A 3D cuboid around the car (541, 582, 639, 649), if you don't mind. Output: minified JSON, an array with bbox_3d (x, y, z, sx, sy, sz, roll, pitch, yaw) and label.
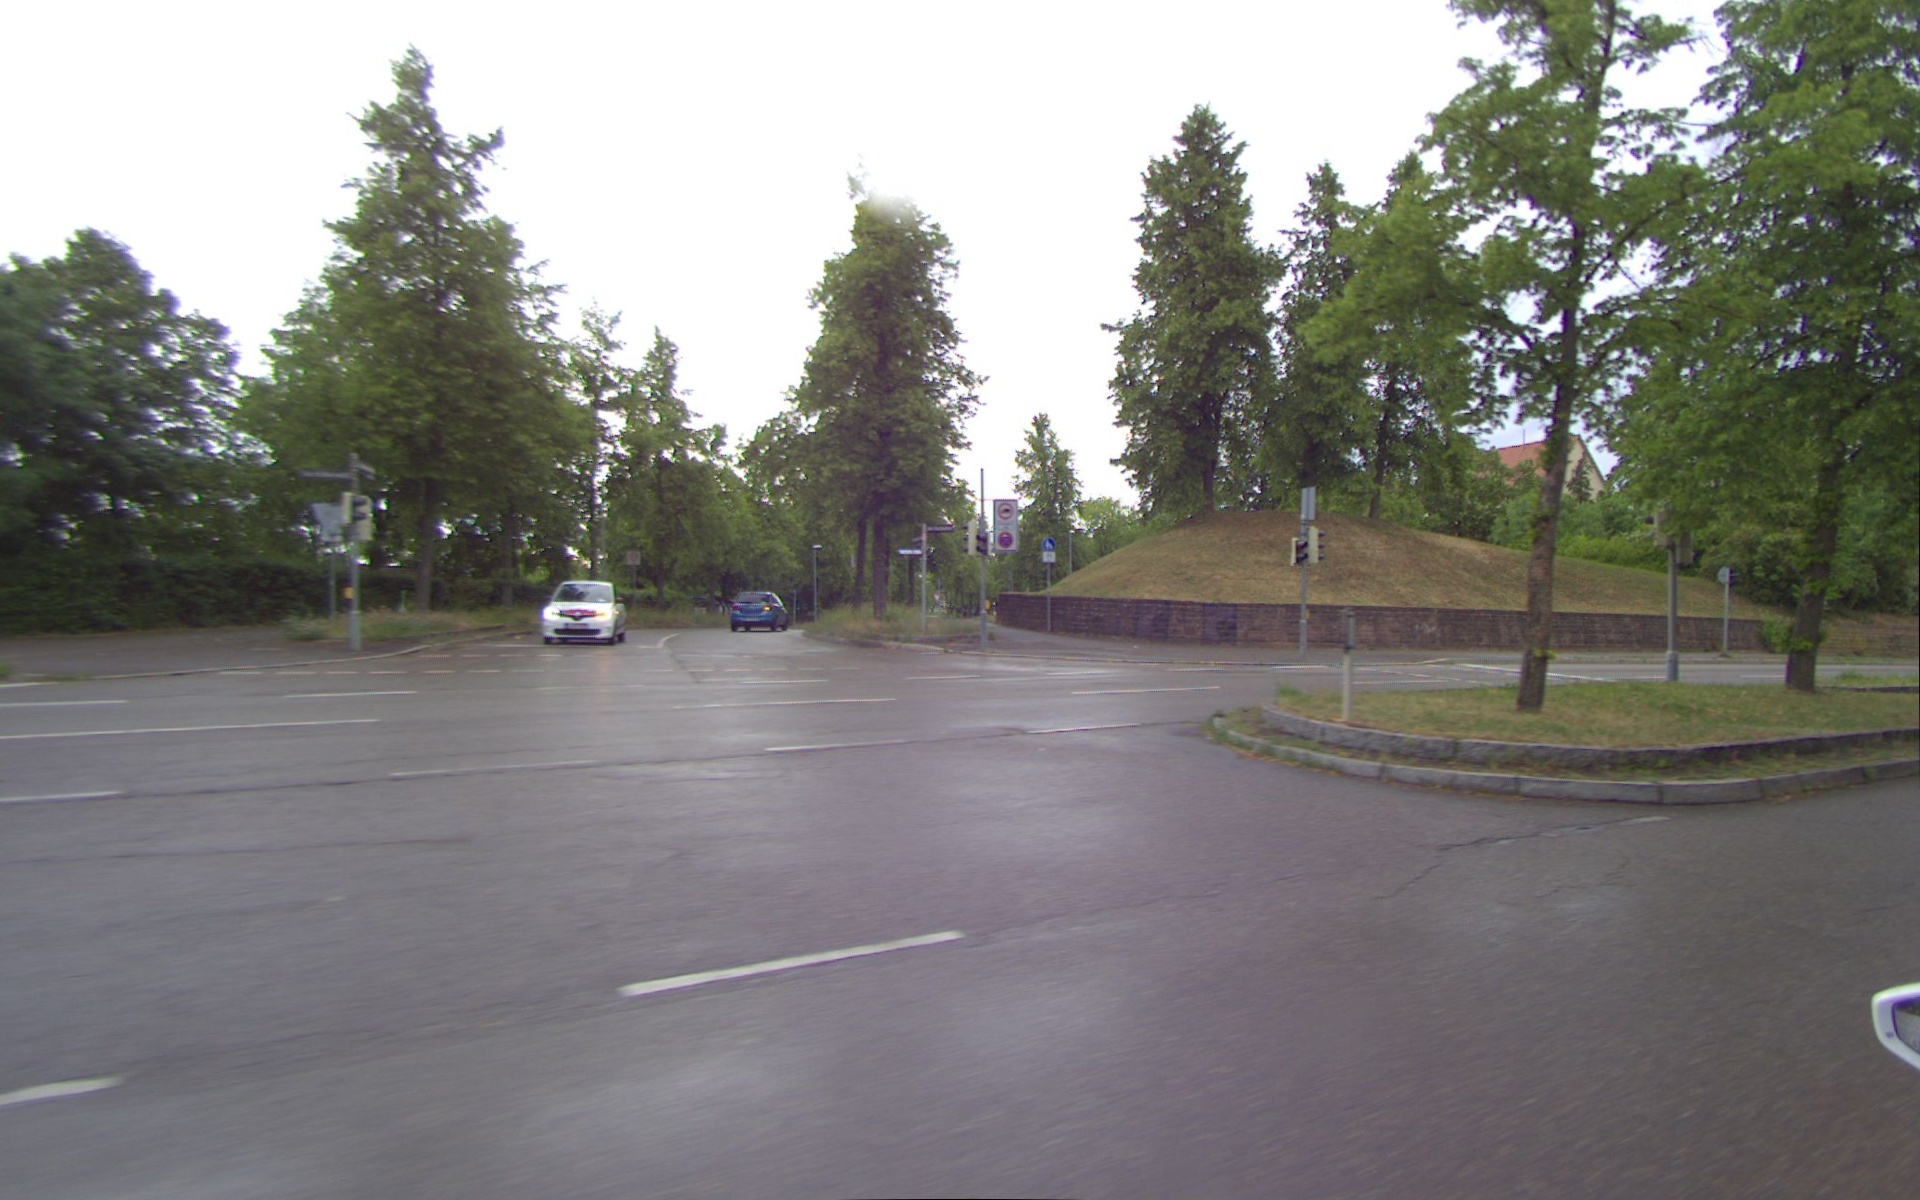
[{"bbox_3d":[-9.180,0.361,25.209,1.731,1.498,3.689,2,0,-12],"label":"car"}]

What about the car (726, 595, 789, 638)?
[{"bbox_3d":[-7.690,0.635,38.481,1.962,1.510,3.934,2,-1,-6],"label":"car"}]
